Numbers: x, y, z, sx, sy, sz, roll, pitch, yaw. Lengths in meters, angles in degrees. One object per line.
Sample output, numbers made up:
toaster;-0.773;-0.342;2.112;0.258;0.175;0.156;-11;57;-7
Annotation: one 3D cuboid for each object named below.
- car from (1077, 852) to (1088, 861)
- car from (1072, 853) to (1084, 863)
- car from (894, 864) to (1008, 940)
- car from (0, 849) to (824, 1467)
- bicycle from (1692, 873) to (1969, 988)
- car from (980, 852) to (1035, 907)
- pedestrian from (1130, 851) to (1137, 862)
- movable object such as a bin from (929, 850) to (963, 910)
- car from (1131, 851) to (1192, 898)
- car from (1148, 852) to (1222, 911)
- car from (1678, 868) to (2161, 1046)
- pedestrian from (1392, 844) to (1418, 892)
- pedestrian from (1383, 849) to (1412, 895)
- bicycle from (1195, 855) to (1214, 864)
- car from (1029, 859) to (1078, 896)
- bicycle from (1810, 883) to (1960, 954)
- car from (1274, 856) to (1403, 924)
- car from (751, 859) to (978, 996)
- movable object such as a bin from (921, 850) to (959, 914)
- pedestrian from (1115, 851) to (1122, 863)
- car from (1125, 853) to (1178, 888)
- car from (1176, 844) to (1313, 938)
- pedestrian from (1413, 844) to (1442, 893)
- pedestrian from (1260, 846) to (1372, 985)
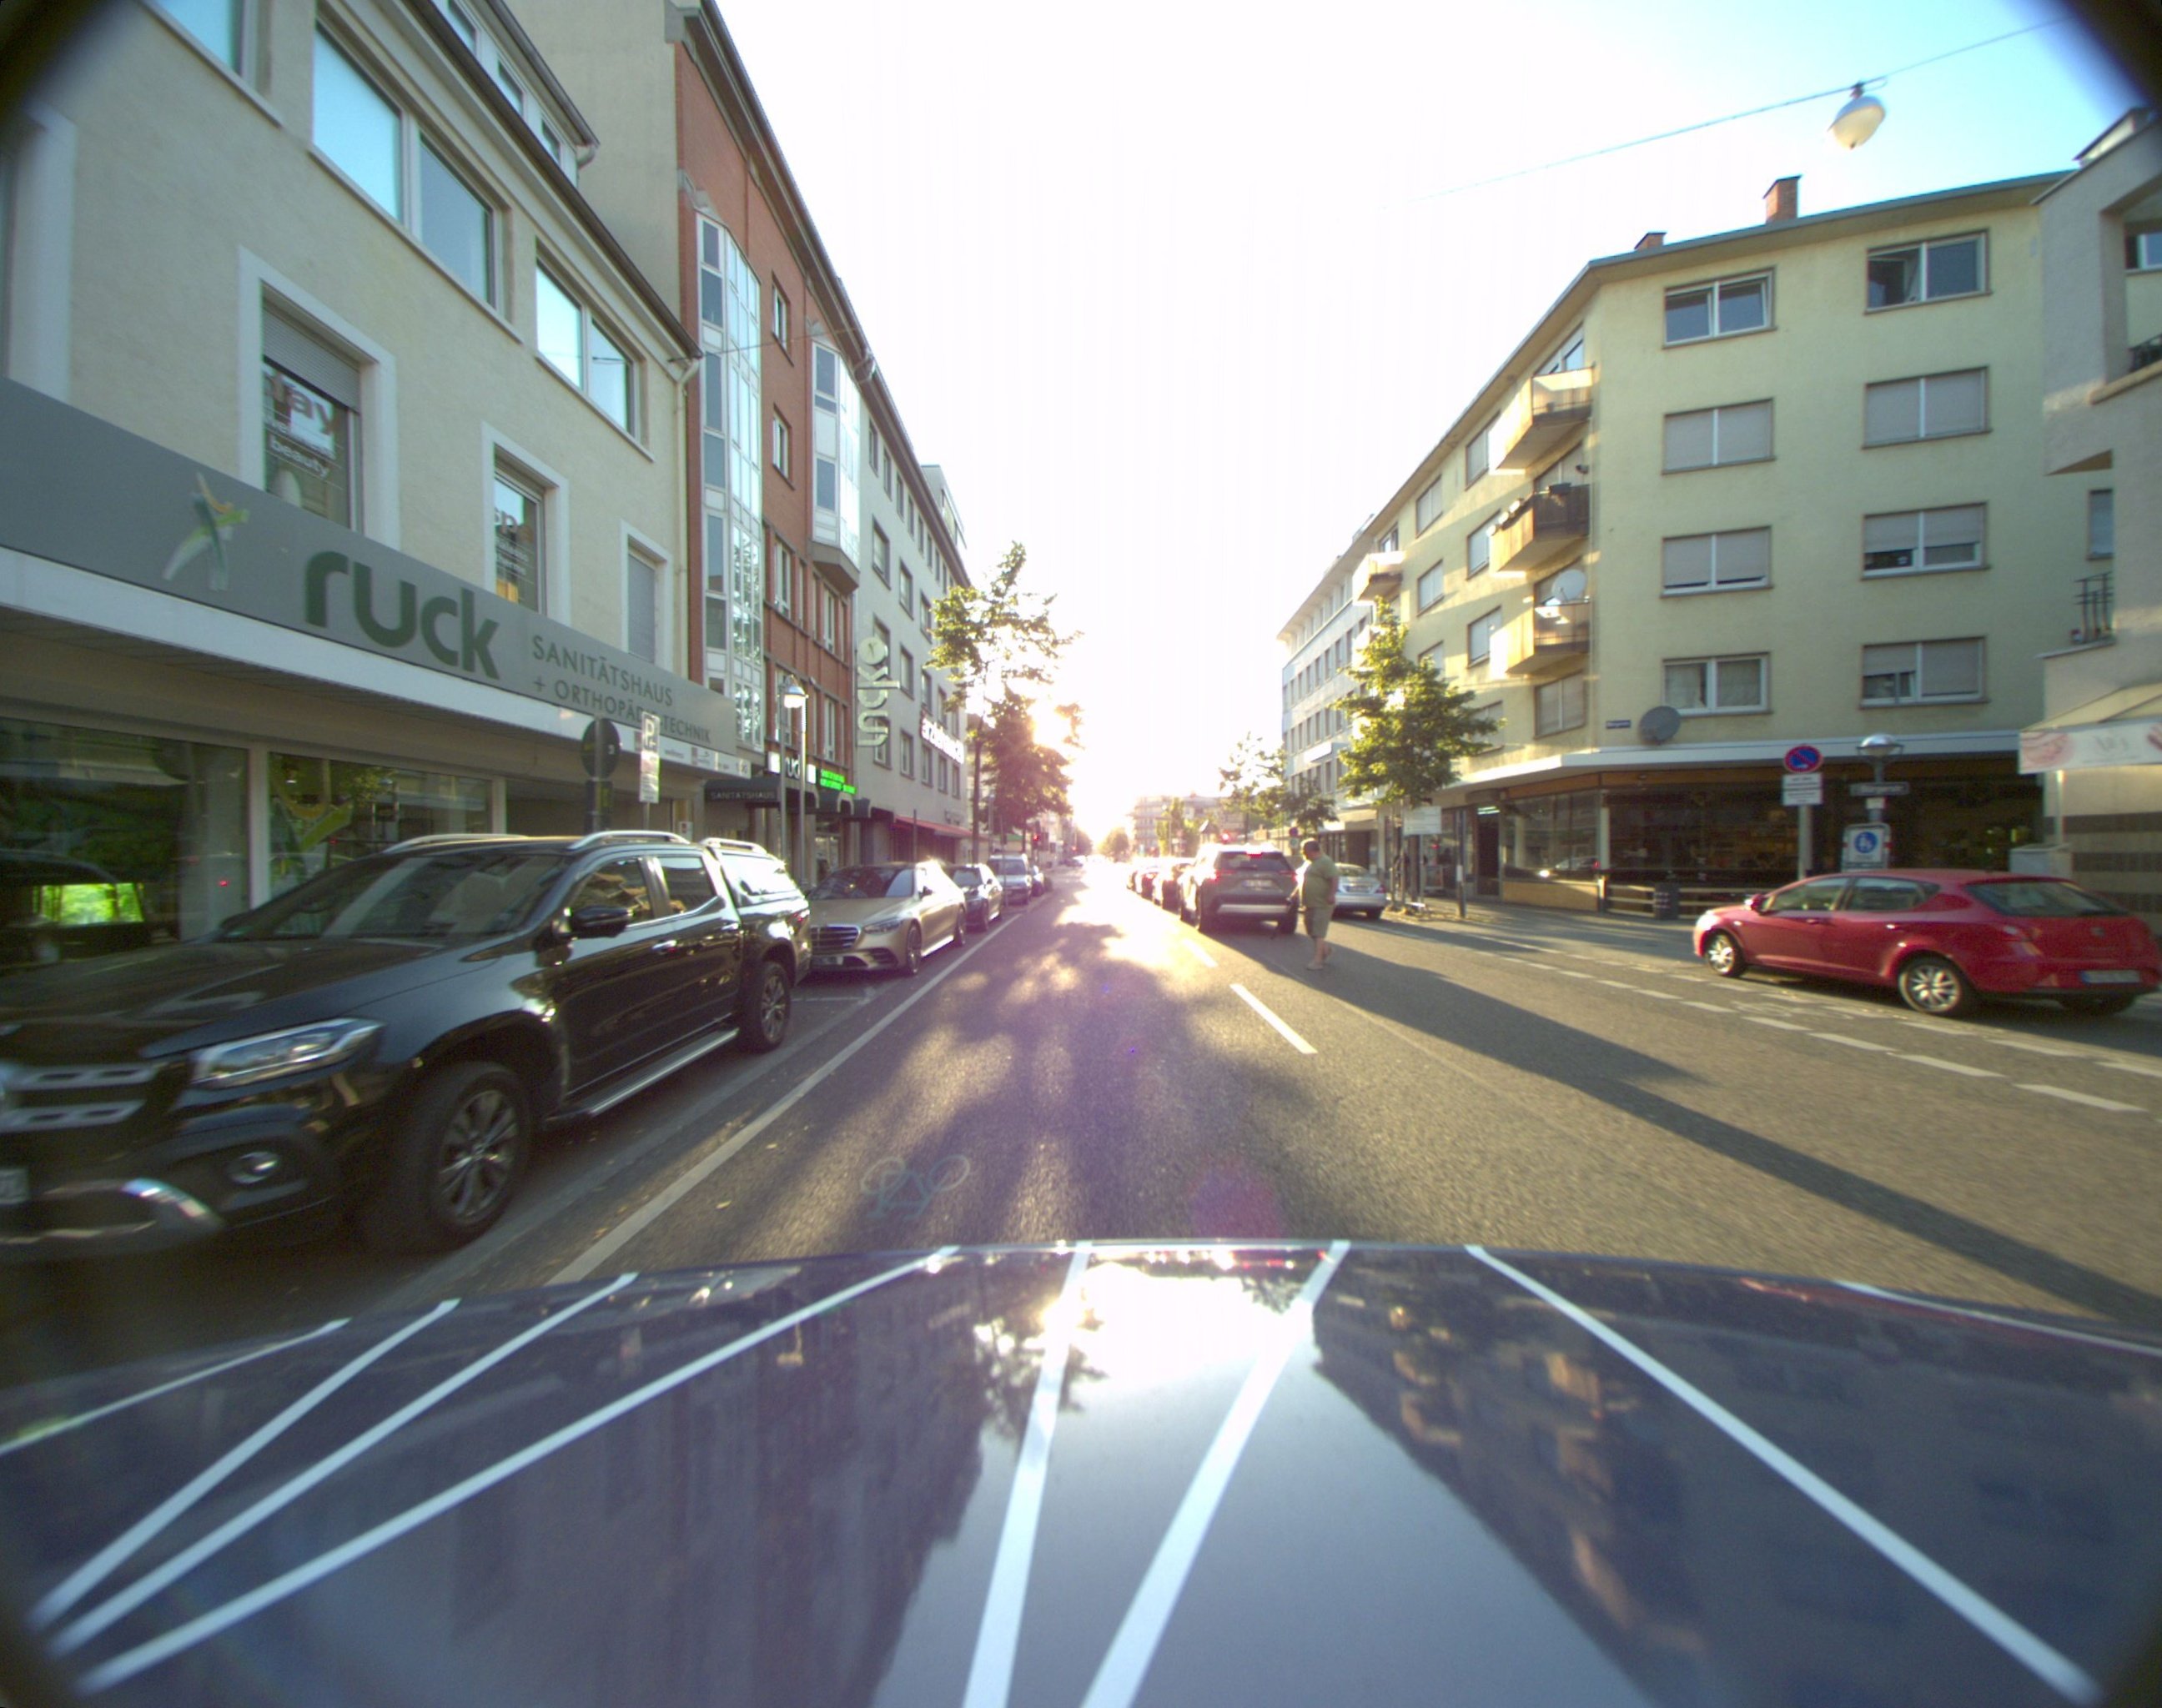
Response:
car;0.368;0.509;153.000;1.998;1.638;4.509;-2;1;2
car;-0.513;0.682;135.300;1.999;1.538;4.508;-2;1;-1
car;-2.811;0.990;17.463;1.757;1.412;4.509;-2;0;1
car;-3.438;0.892;4.728;1.888;1.744;5.058;-2;1;0
bicycle;10.739;1.010;11.173;0.961;1.293;3.126;-2;1;-1
car;-2.533;0.850;26.993;1.659;1.768;4.011;-2;0;-2
pedestrian;8.016;0.375;115.996;0.842;1.736;0.701;-2;1;0
movable object such as a bin;-4.136;0.768;23.366;0.837;1.764;1.205;-2;1;-3
car;3.030;0.716;29.518;1.951;1.635;4.615;0;1;1
car;3.022;0.745;22.937;1.728;1.541;4.464;0;1;1
car;9.140;0.947;8.643;1.665;1.394;3.883;-2;1;0
pedestrian;12.740;0.560;29.859;0.769;1.836;0.744;-1;0;11
pedestrian;11.881;0.662;28.511;0.768;1.666;0.744;0;1;43
bicycle;15.179;0.704;93.496;2.180;1.081;0.779;0;1;1
car;-1.144;0.966;32.896;1.942;1.368;4.182;-2;0;-1
bicycle;13.577;1.049;12.923;0.491;0.986;2.016;-2;1;2
car;6.798;0.880;20.626;1.998;1.503;4.509;2;1;1
car;-2.983;0.919;11.776;1.816;1.518;4.993;-2;1;3
movable object such as a bin;-4.069;0.785;22.066;0.837;1.764;1.353;-2;1;-3
pedestrian;5.441;0.457;110.054;0.905;1.667;0.780;-2;1;13
car;3.241;0.752;35.806;1.963;1.538;4.509;0;-1;-1
car;3.196;0.627;15.862;1.945;1.635;4.738;0;1;1
pedestrian;13.147;0.548;28.826;0.742;1.808;0.813;0;0;3
pedestrian;3.033;0.743;9.853;0.908;1.667;0.990;1;2;-36
